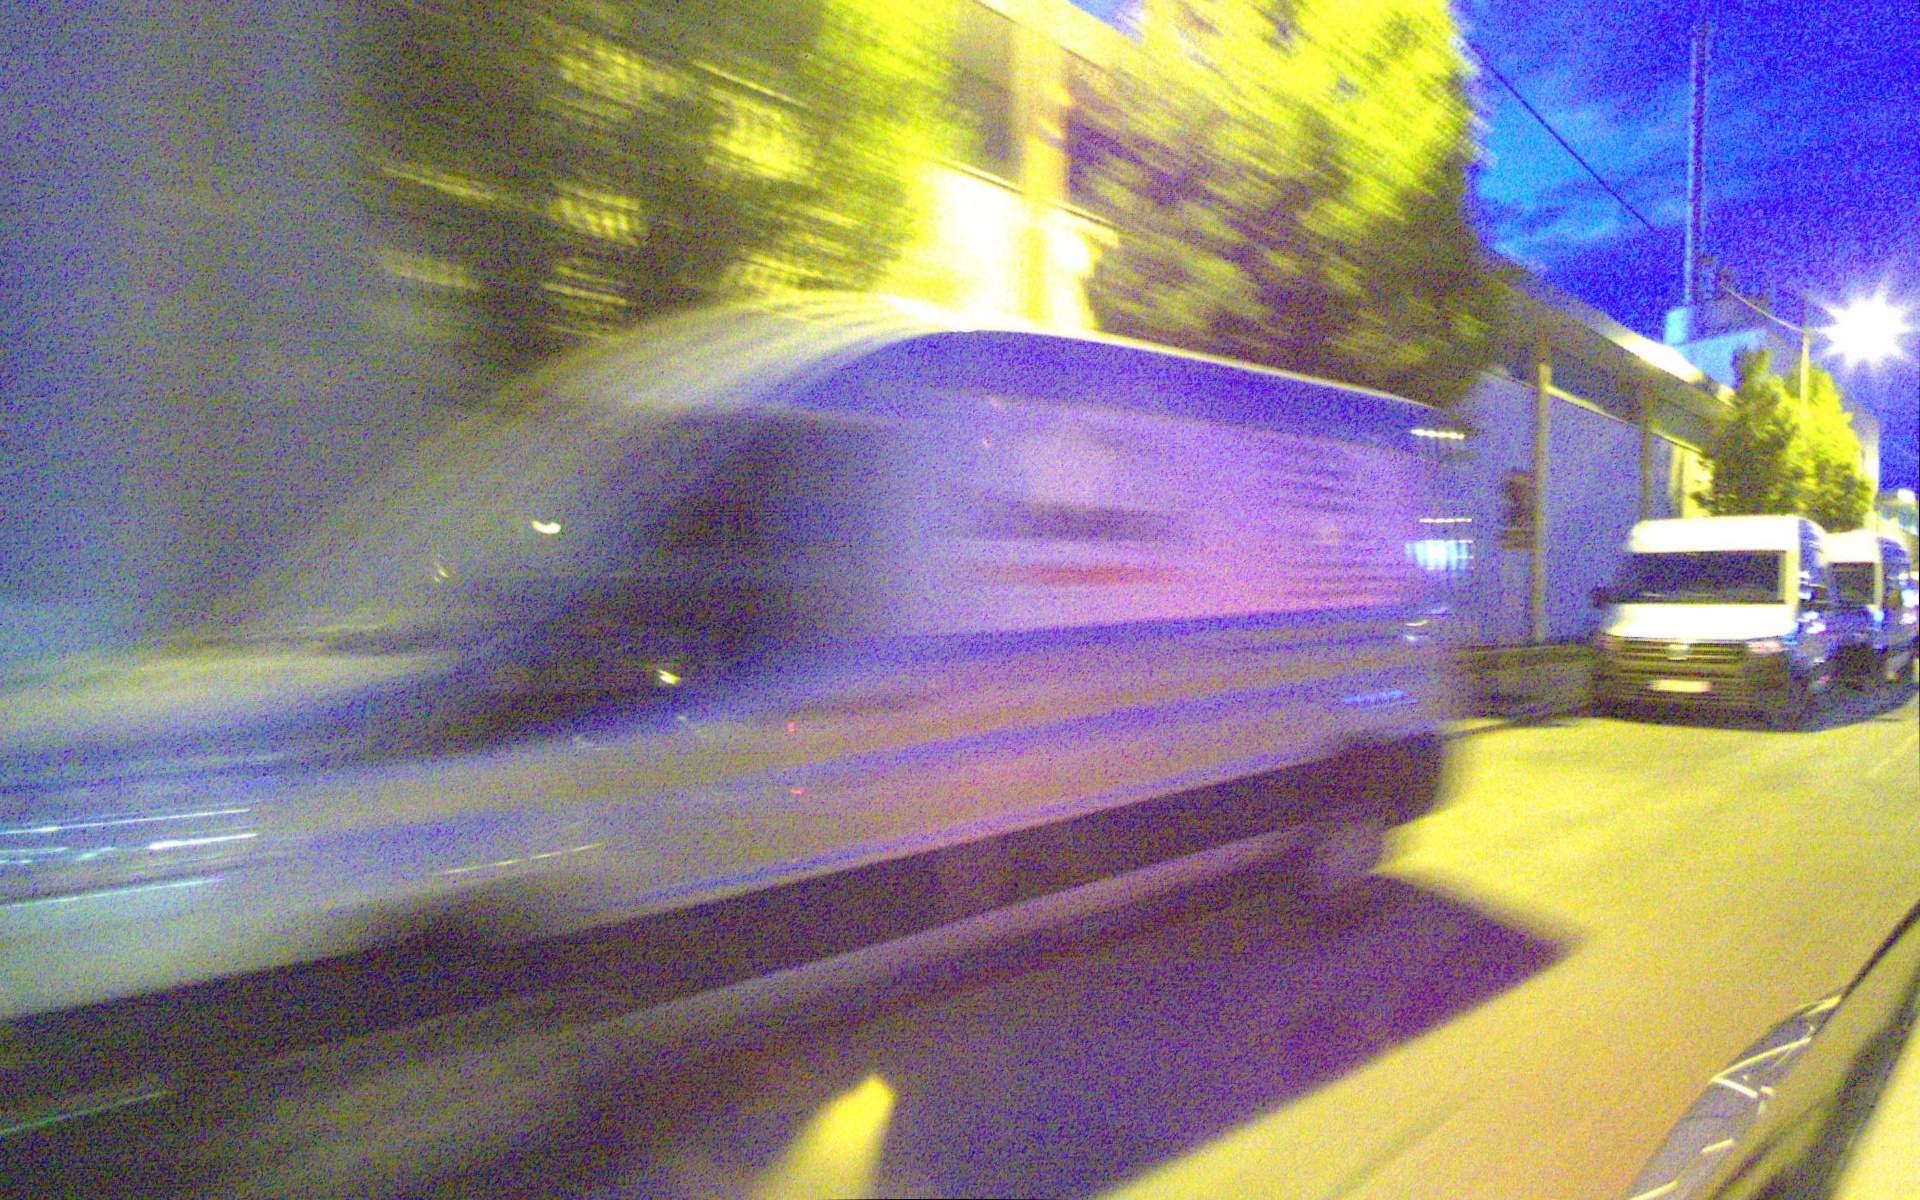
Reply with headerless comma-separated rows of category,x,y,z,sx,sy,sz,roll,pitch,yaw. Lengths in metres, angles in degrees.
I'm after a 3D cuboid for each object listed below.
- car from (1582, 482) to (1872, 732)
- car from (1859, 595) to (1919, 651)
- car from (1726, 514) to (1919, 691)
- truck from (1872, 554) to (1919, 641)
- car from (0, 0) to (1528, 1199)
car,10.294,0.079,13.352,5.811,2.604,2.129,0,-1,-44
car,25.968,0.584,27.412,4.823,1.425,1.832,0,-1,-41
car,15.325,0.035,17.599,5.909,2.604,1.996,0,-1,-41
truck,31.275,-0.085,32.204,6.479,2.626,2.407,0,1,-39
car,-0.024,0.145,4.212,5.800,2.558,1.998,0,-1,-38
